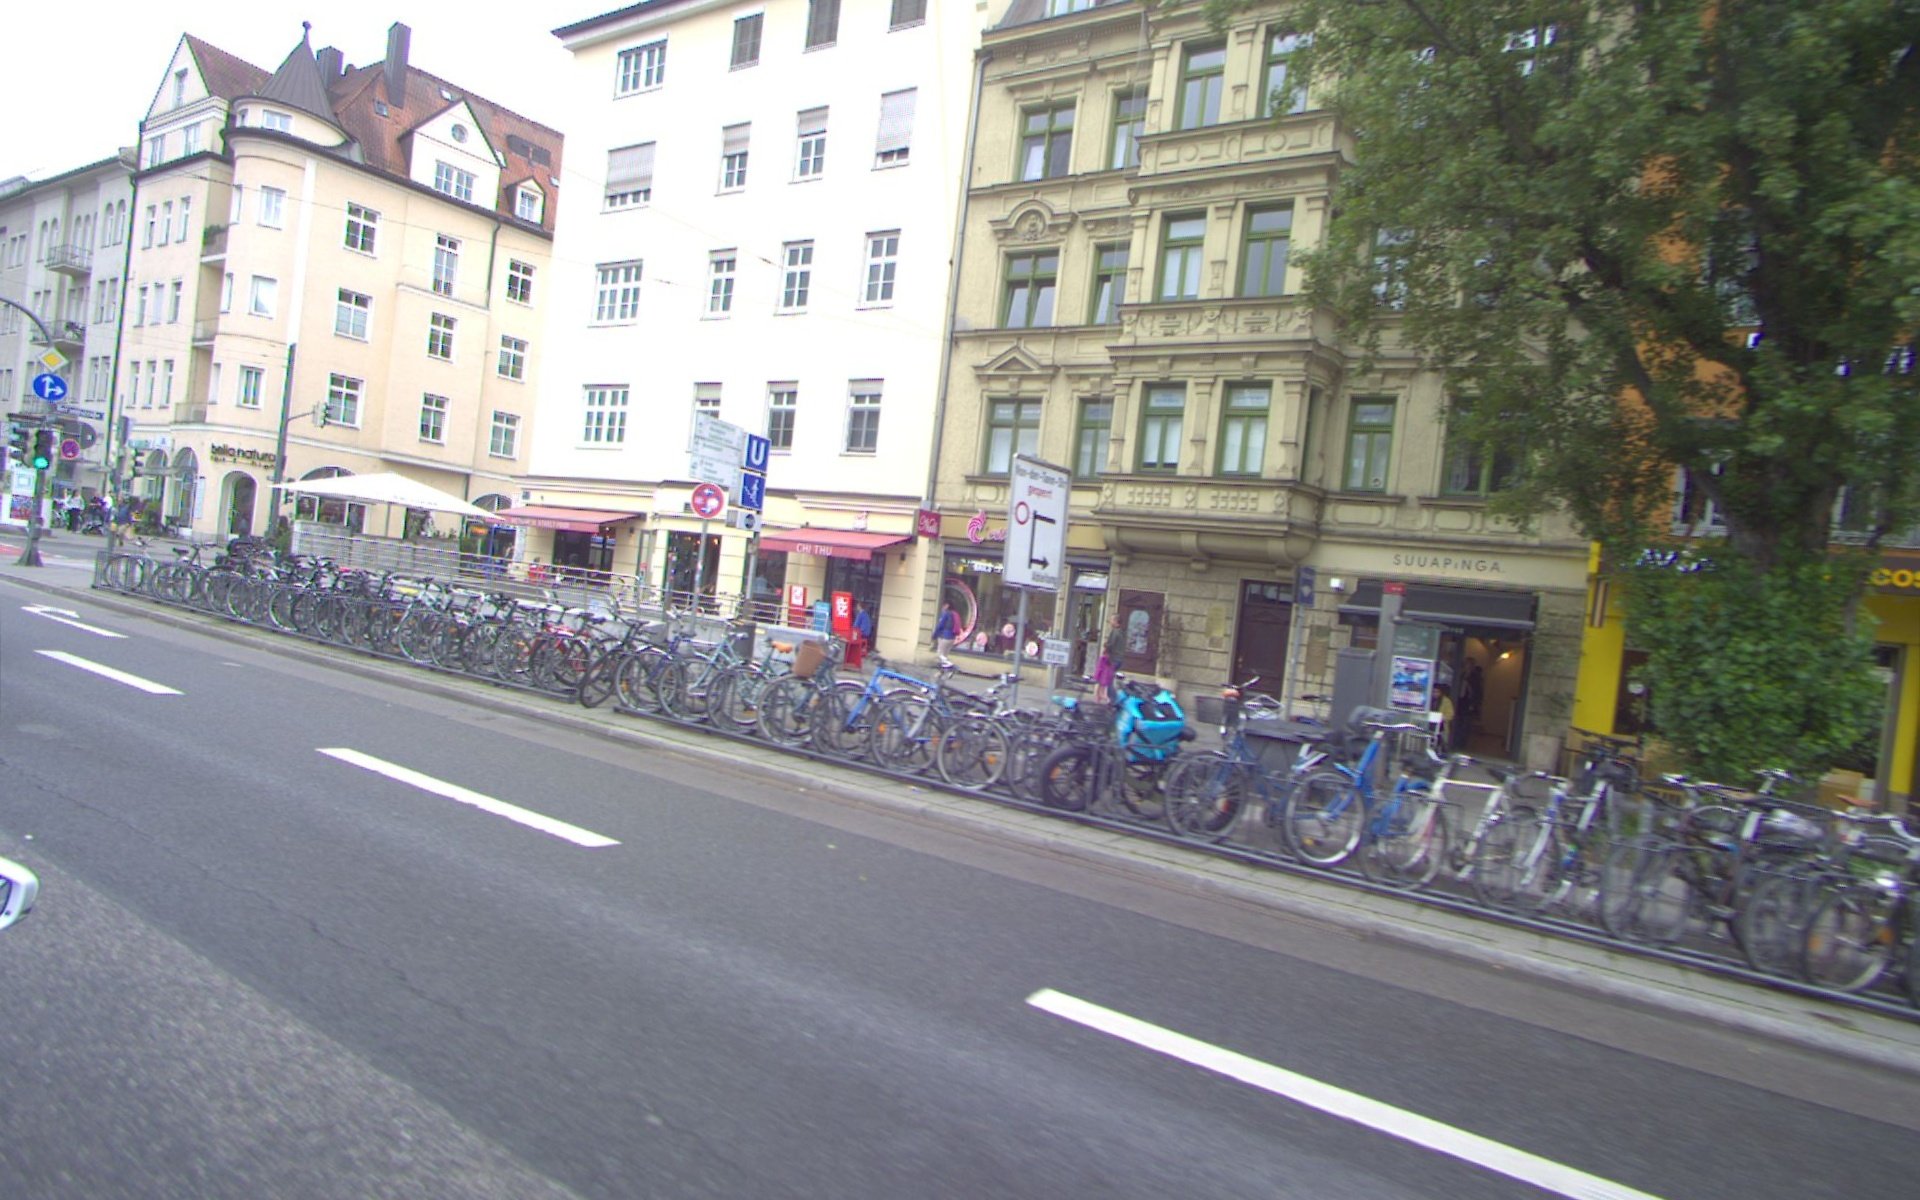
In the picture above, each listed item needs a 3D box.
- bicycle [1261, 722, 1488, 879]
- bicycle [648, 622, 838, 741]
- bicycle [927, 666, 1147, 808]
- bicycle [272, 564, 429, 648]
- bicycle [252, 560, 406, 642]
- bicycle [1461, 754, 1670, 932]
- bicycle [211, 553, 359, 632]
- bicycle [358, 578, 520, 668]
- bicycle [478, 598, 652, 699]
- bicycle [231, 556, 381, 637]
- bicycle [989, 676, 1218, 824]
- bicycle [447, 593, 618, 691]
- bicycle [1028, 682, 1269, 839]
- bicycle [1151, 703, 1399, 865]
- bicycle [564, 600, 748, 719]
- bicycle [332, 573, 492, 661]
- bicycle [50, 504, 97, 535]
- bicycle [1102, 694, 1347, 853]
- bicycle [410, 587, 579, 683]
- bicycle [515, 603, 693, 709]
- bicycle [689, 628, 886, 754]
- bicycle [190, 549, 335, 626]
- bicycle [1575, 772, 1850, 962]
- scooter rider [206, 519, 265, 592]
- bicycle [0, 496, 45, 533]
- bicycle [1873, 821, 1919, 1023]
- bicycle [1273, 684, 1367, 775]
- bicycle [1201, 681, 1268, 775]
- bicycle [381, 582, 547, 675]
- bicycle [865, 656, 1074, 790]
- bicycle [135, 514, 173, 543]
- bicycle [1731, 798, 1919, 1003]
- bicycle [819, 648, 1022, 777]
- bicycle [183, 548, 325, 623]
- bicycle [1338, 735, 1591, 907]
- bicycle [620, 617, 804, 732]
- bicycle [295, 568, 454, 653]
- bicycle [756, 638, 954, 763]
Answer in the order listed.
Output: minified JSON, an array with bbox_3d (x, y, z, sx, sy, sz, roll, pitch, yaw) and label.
[{"bbox_3d":[3.095,1.502,7.448,1.820,1.008,0.323,9,0,-27],"label":"bicycle"},{"bbox_3d":[-2.270,0.861,10.571,1.816,1.008,0.324,9,1,-19],"label":"bicycle"},{"bbox_3d":[0.685,1.208,8.824,1.815,1.008,0.324,9,1,-16],"label":"bicycle"},{"bbox_3d":[-8.726,0.088,14.461,1.815,1.008,0.346,6,1,-19],"label":"bicycle"},{"bbox_3d":[-9.266,0.024,14.826,1.815,1.008,0.346,6,1,-19],"label":"bicycle"},{"bbox_3d":[4.091,1.607,6.732,1.825,1.008,0.372,9,0,-35],"label":"bicycle"},{"bbox_3d":[-10.389,-0.111,15.527,1.813,1.008,0.347,6,1,-15],"label":"bicycle"},{"bbox_3d":[-6.913,0.309,13.422,1.815,1.008,0.346,6,1,-19],"label":"bicycle"},{"bbox_3d":[-4.654,0.579,11.935,1.812,1.008,0.347,6,1,-14],"label":"bicycle"},{"bbox_3d":[-9.838,-0.045,15.180,1.813,1.008,0.347,6,1,-15],"label":"bicycle"},{"bbox_3d":[1.216,1.271,8.467,1.815,1.008,0.324,9,1,-16],"label":"bicycle"},{"bbox_3d":[-5.193,0.516,12.303,1.815,1.008,0.346,6,1,-19],"label":"bicycle"},{"bbox_3d":[1.526,1.302,8.143,1.813,1.008,0.324,9,1,-12],"label":"bicycle"},{"bbox_3d":[2.418,1.413,7.678,1.815,1.008,0.324,9,1,-16],"label":"bicycle"},{"bbox_3d":[-3.382,0.676,11.236,1.819,1.127,0.464,7,1,-26],"label":"bicycle"},{"bbox_3d":[-7.457,0.244,13.762,1.815,1.008,0.346,6,1,-19],"label":"bicycle"},{"bbox_3d":[-36.931,-3.344,41.897,1.831,1.072,0.496,7,1,17],"label":"bicycle"},{"bbox_3d":[2.106,1.381,8.012,1.812,1.008,0.324,9,1,-11],"label":"bicycle"},{"bbox_3d":[-5.799,0.440,12.603,1.813,1.008,0.347,6,1,-15],"label":"bicycle"},{"bbox_3d":[-4.035,0.642,11.494,1.813,1.008,0.324,7,1,-14],"label":"bicycle"},{"bbox_3d":[-1.729,0.923,10.155,1.814,1.008,0.324,9,1,-14],"label":"bicycle"},{"bbox_3d":[-10.989,-0.184,15.890,1.813,1.008,0.347,6,1,-15],"label":"bicycle"},{"bbox_3d":[4.730,1.685,6.300,1.817,1.008,0.373,9,1,-21],"label":"bicycle"},{"bbox_3d":[-15.201,-0.925,21.121,0.632,1.406,0.701,7,1,30],"label":"scooter rider"},{"bbox_3d":[-34.608,-3.141,36.793,0.516,1.175,1.568,9,2,35],"label":"bicycle"},{"bbox_3d":[5.886,1.825,5.560,1.817,1.008,0.373,9,1,-21],"label":"bicycle"},{"bbox_3d":[4.674,1.676,13.002,0.382,1.058,1.720,9,0,42],"label":"bicycle"},{"bbox_3d":[3.480,1.571,12.668,0.380,1.058,1.727,9,0,26],"label":"bicycle"},{"bbox_3d":[-6.379,0.372,13.000,1.813,1.008,0.347,6,1,-15],"label":"bicycle"},{"bbox_3d":[0.106,1.139,9.211,1.818,1.008,0.323,9,1,-22],"label":"bicycle"},{"bbox_3d":[-35.708,-3.183,44.571,1.833,1.103,0.495,7,1,26],"label":"bicycle"},{"bbox_3d":[5.302,1.750,5.798,1.817,1.008,0.373,9,1,-21],"label":"bicycle"},{"bbox_3d":[-0.361,1.086,9.578,1.818,1.008,0.323,9,1,-22],"label":"bicycle"},{"bbox_3d":[-11.401,-0.228,16.283,1.812,1.008,0.347,6,1,-12],"label":"bicycle"},{"bbox_3d":[3.518,1.548,6.979,1.817,1.008,0.323,9,1,-21],"label":"bicycle"},{"bbox_3d":[-2.689,0.816,10.968,1.816,1.008,0.324,9,1,-19],"label":"bicycle"},{"bbox_3d":[-8.175,0.153,14.100,1.815,1.008,0.346,6,1,-19],"label":"bicycle"},{"bbox_3d":[-1.020,1.005,9.942,1.818,1.008,0.323,9,1,-22],"label":"bicycle"}]
